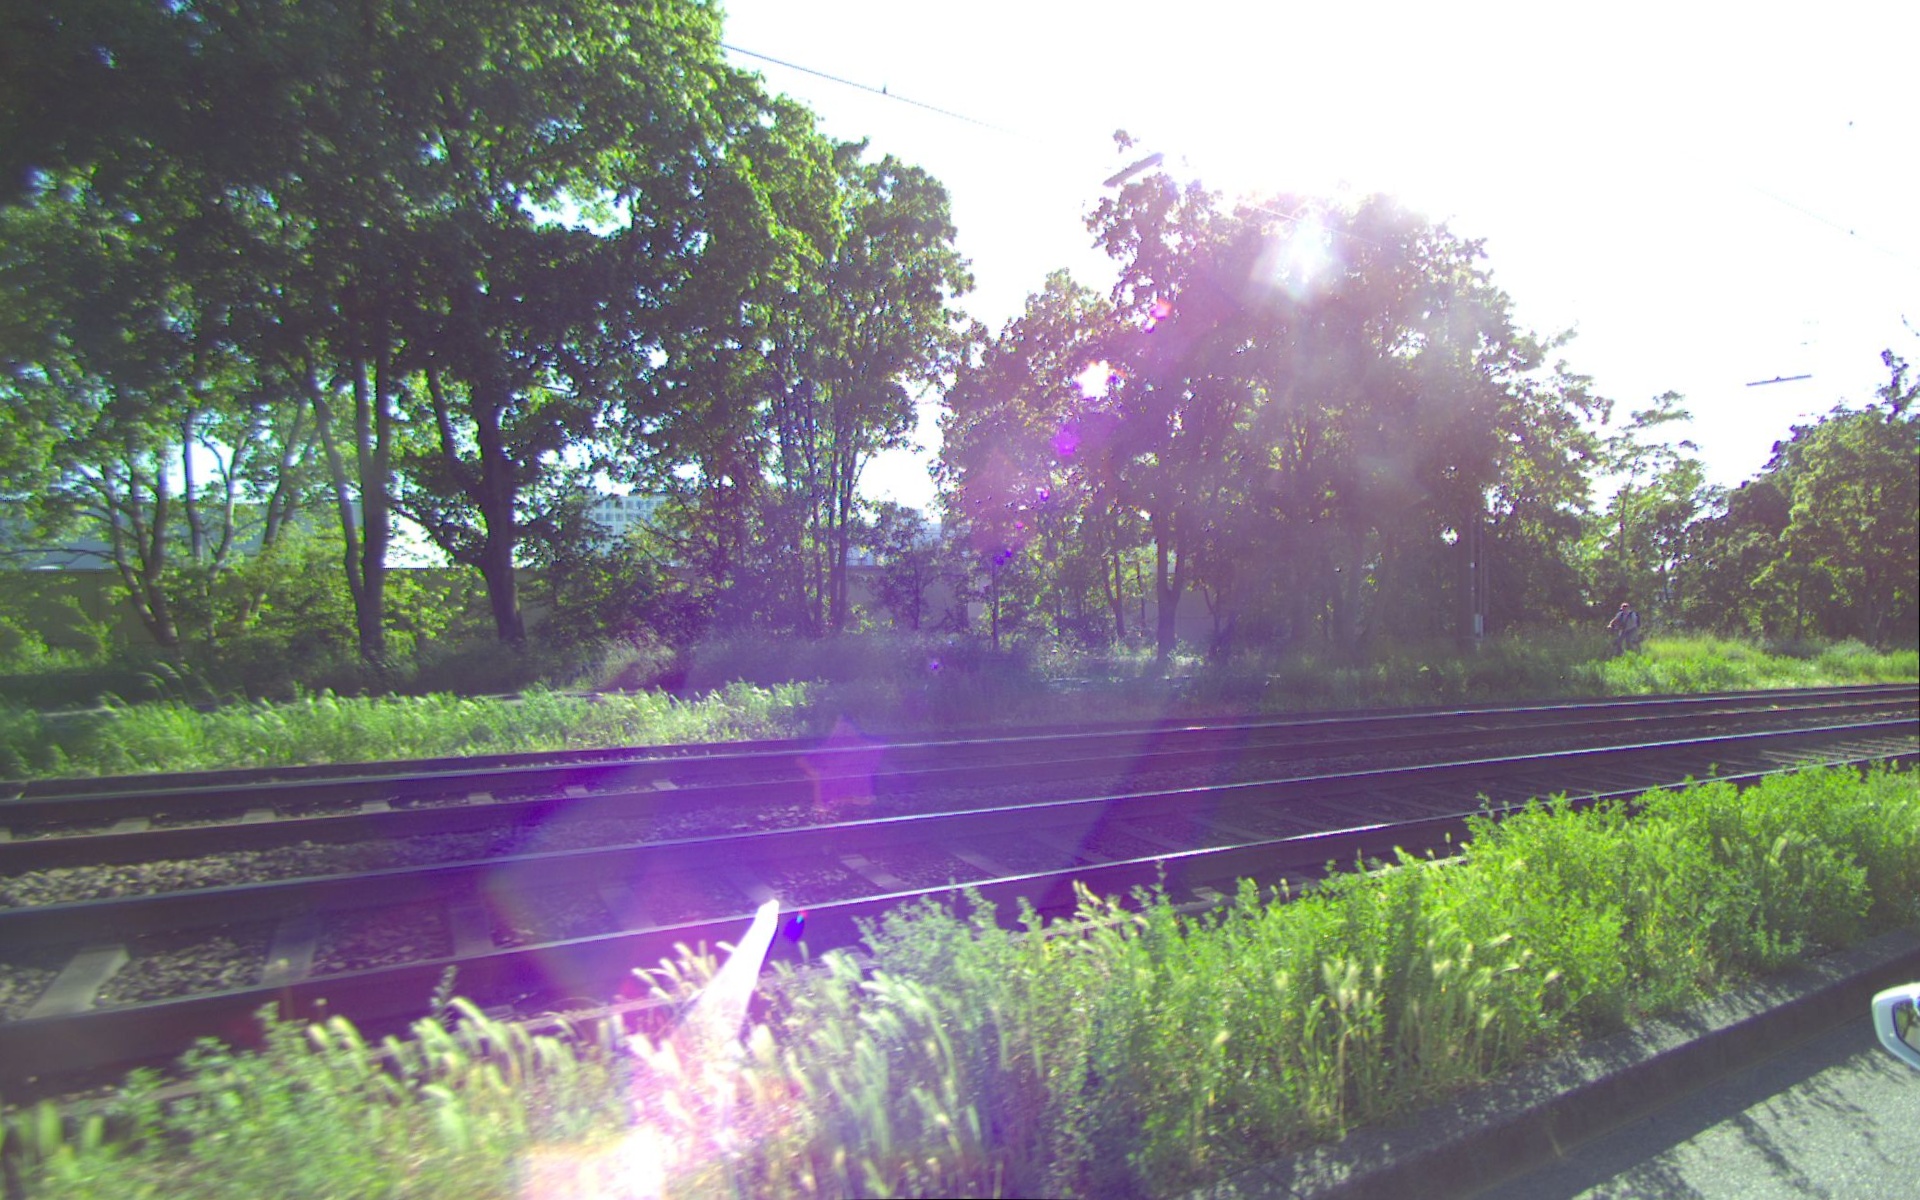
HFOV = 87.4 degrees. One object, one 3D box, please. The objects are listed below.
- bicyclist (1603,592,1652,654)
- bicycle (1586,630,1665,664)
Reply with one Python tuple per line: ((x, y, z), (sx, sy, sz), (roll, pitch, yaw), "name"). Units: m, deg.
((19.354, 0.655, 29.128), (0.891, 1.759, 0.815), (1, 1, -28), "bicyclist")
((19.298, 1.361, 29.118), (2.506, 0.926, 0.815), (1, 0, -29), "bicycle")
